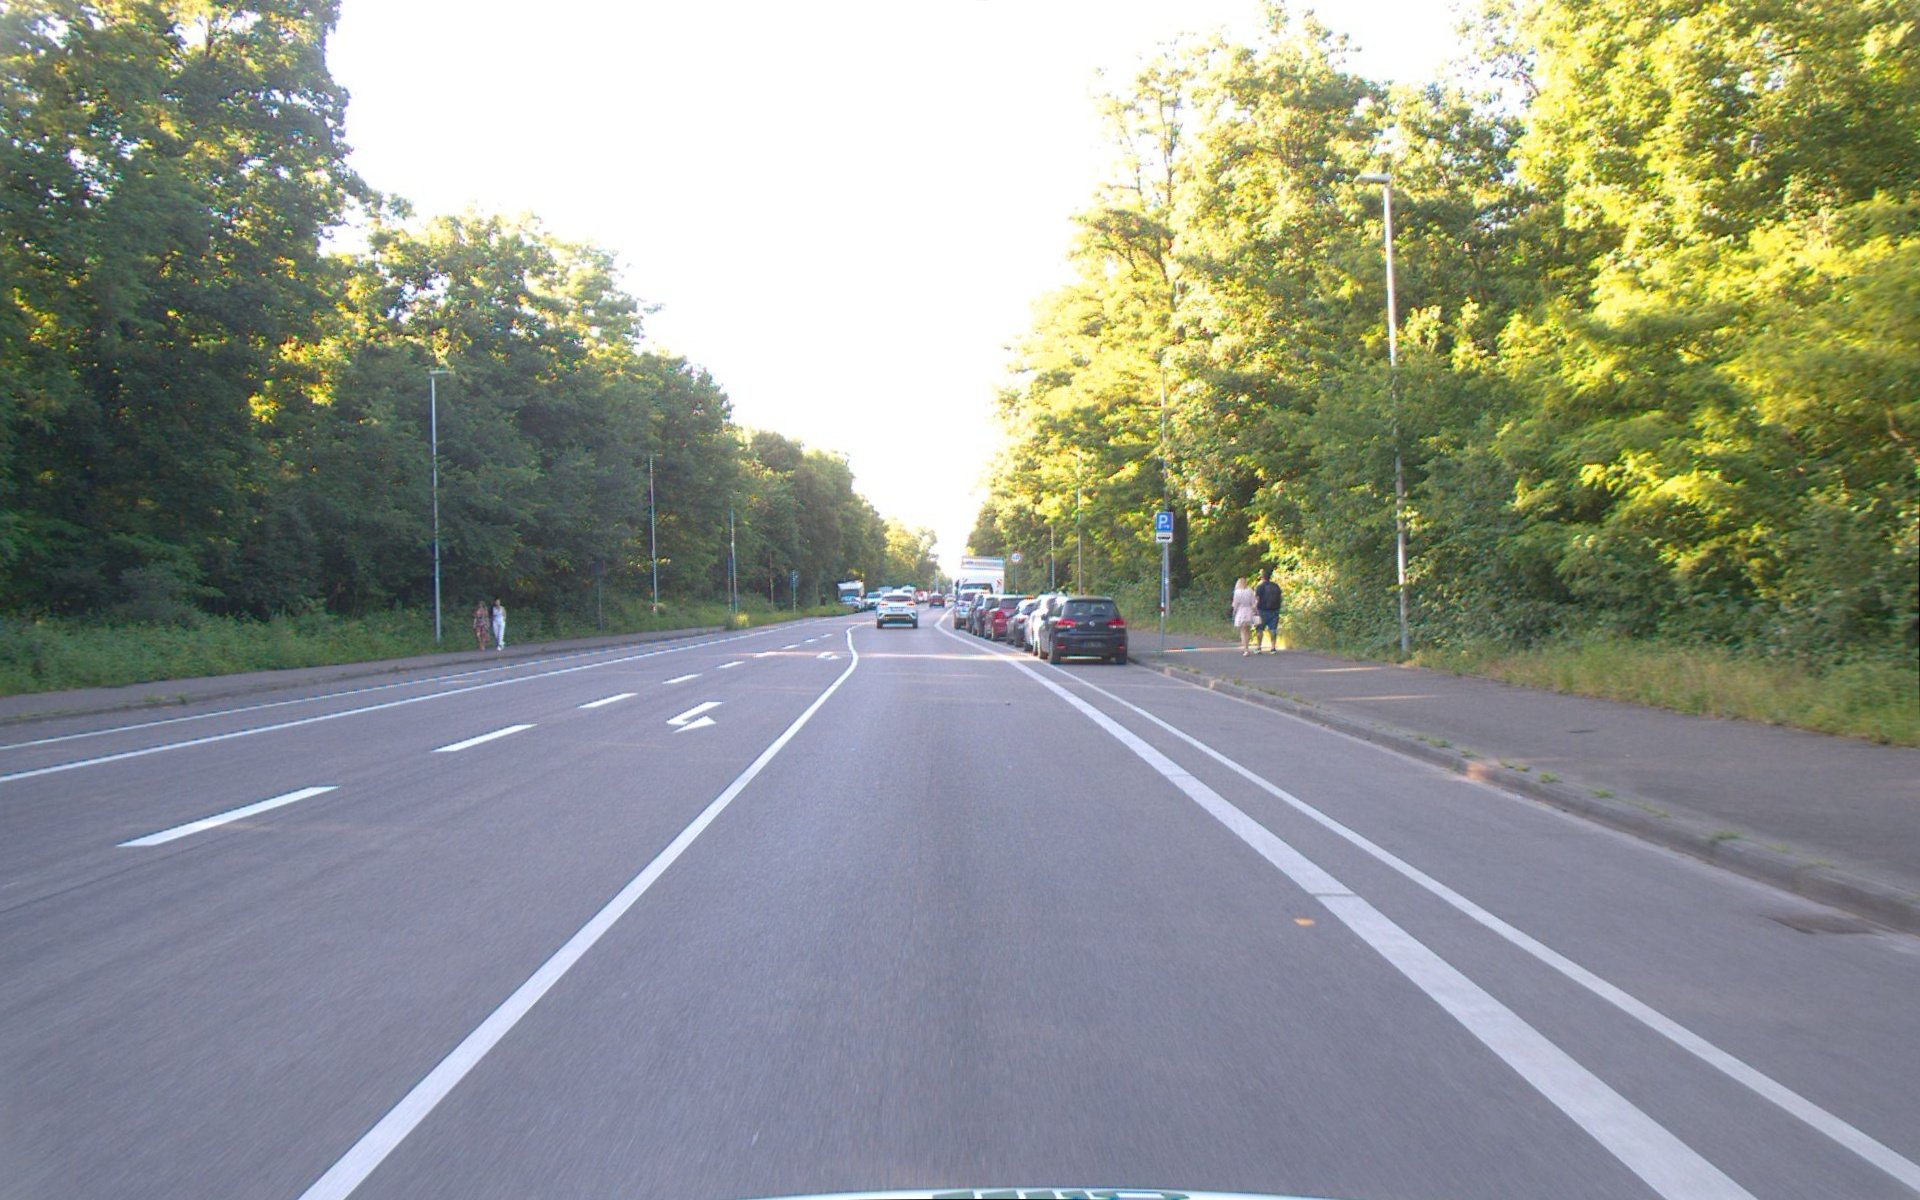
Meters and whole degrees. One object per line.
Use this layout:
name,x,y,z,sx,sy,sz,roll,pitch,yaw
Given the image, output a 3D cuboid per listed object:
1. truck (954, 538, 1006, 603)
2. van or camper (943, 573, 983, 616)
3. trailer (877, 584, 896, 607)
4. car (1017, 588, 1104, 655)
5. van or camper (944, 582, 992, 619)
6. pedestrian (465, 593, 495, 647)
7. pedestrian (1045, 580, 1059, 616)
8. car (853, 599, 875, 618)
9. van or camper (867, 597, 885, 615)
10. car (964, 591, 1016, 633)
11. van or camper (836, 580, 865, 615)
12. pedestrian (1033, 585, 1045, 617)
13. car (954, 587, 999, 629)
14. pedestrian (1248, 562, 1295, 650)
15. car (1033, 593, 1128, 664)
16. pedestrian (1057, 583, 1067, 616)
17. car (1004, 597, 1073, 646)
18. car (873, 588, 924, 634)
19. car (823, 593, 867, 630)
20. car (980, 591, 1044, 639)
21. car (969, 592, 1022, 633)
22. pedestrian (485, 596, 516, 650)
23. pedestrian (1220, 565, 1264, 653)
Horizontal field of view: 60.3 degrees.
truck,1.113,-1.707,97.070,2.775,3.558,8.577,-1,0,-1
van or camper,0.160,-0.282,81.929,1.858,2.049,4.587,-1,0,0
trailer,-9.197,-0.562,207.475,1.953,2.642,4.416,-3,0,0
car,2.522,0.506,42.269,1.702,1.551,4.357,-2,1,-3
van or camper,0.692,-0.015,134.921,2.389,2.848,6.562,-2,0,13
pedestrian,-15.377,0.633,52.979,0.660,1.682,0.790,-1,0,4
pedestrian,4.694,-0.095,84.639,0.605,1.795,0.906,-2,0,-1
car,-8.288,0.693,143.600,1.791,1.501,4.678,-3,0,-3
van or camper,-9.345,0.643,184.222,1.798,1.944,4.855,-3,0,0
car,1.130,0.426,64.091,1.771,1.545,4.502,1,0,-2
van or camper,-9.949,-0.228,150.399,2.268,3.021,7.108,-4,0,-2
pedestrian,3.939,0.050,82.398,0.552,1.615,0.482,-2,0,-1
car,0.689,0.309,69.067,1.762,1.623,4.029,-1,0,1
pedestrian,6.699,0.129,35.601,0.662,1.830,0.952,-3,0,-6
car,2.701,0.612,37.730,1.624,1.477,4.017,1,0,-4
pedestrian,4.946,-0.023,80.263,0.386,1.615,0.482,-2,0,-1
car,2.240,0.590,47.792,1.596,1.342,3.838,0,0,-3
car,-2.639,0.446,71.907,1.987,1.872,4.029,-1,0,0
car,-5.074,0.472,73.206,1.771,1.545,4.502,1,0,-2
car,1.639,0.464,53.473,1.585,1.494,3.720,1,0,-6
car,1.244,0.428,59.163,1.563,1.425,3.795,0,0,-4
pedestrian,-14.706,0.740,52.936,0.660,1.682,0.790,-1,0,4
pedestrian,6.041,0.196,35.461,0.662,1.830,0.789,-3,0,-6
